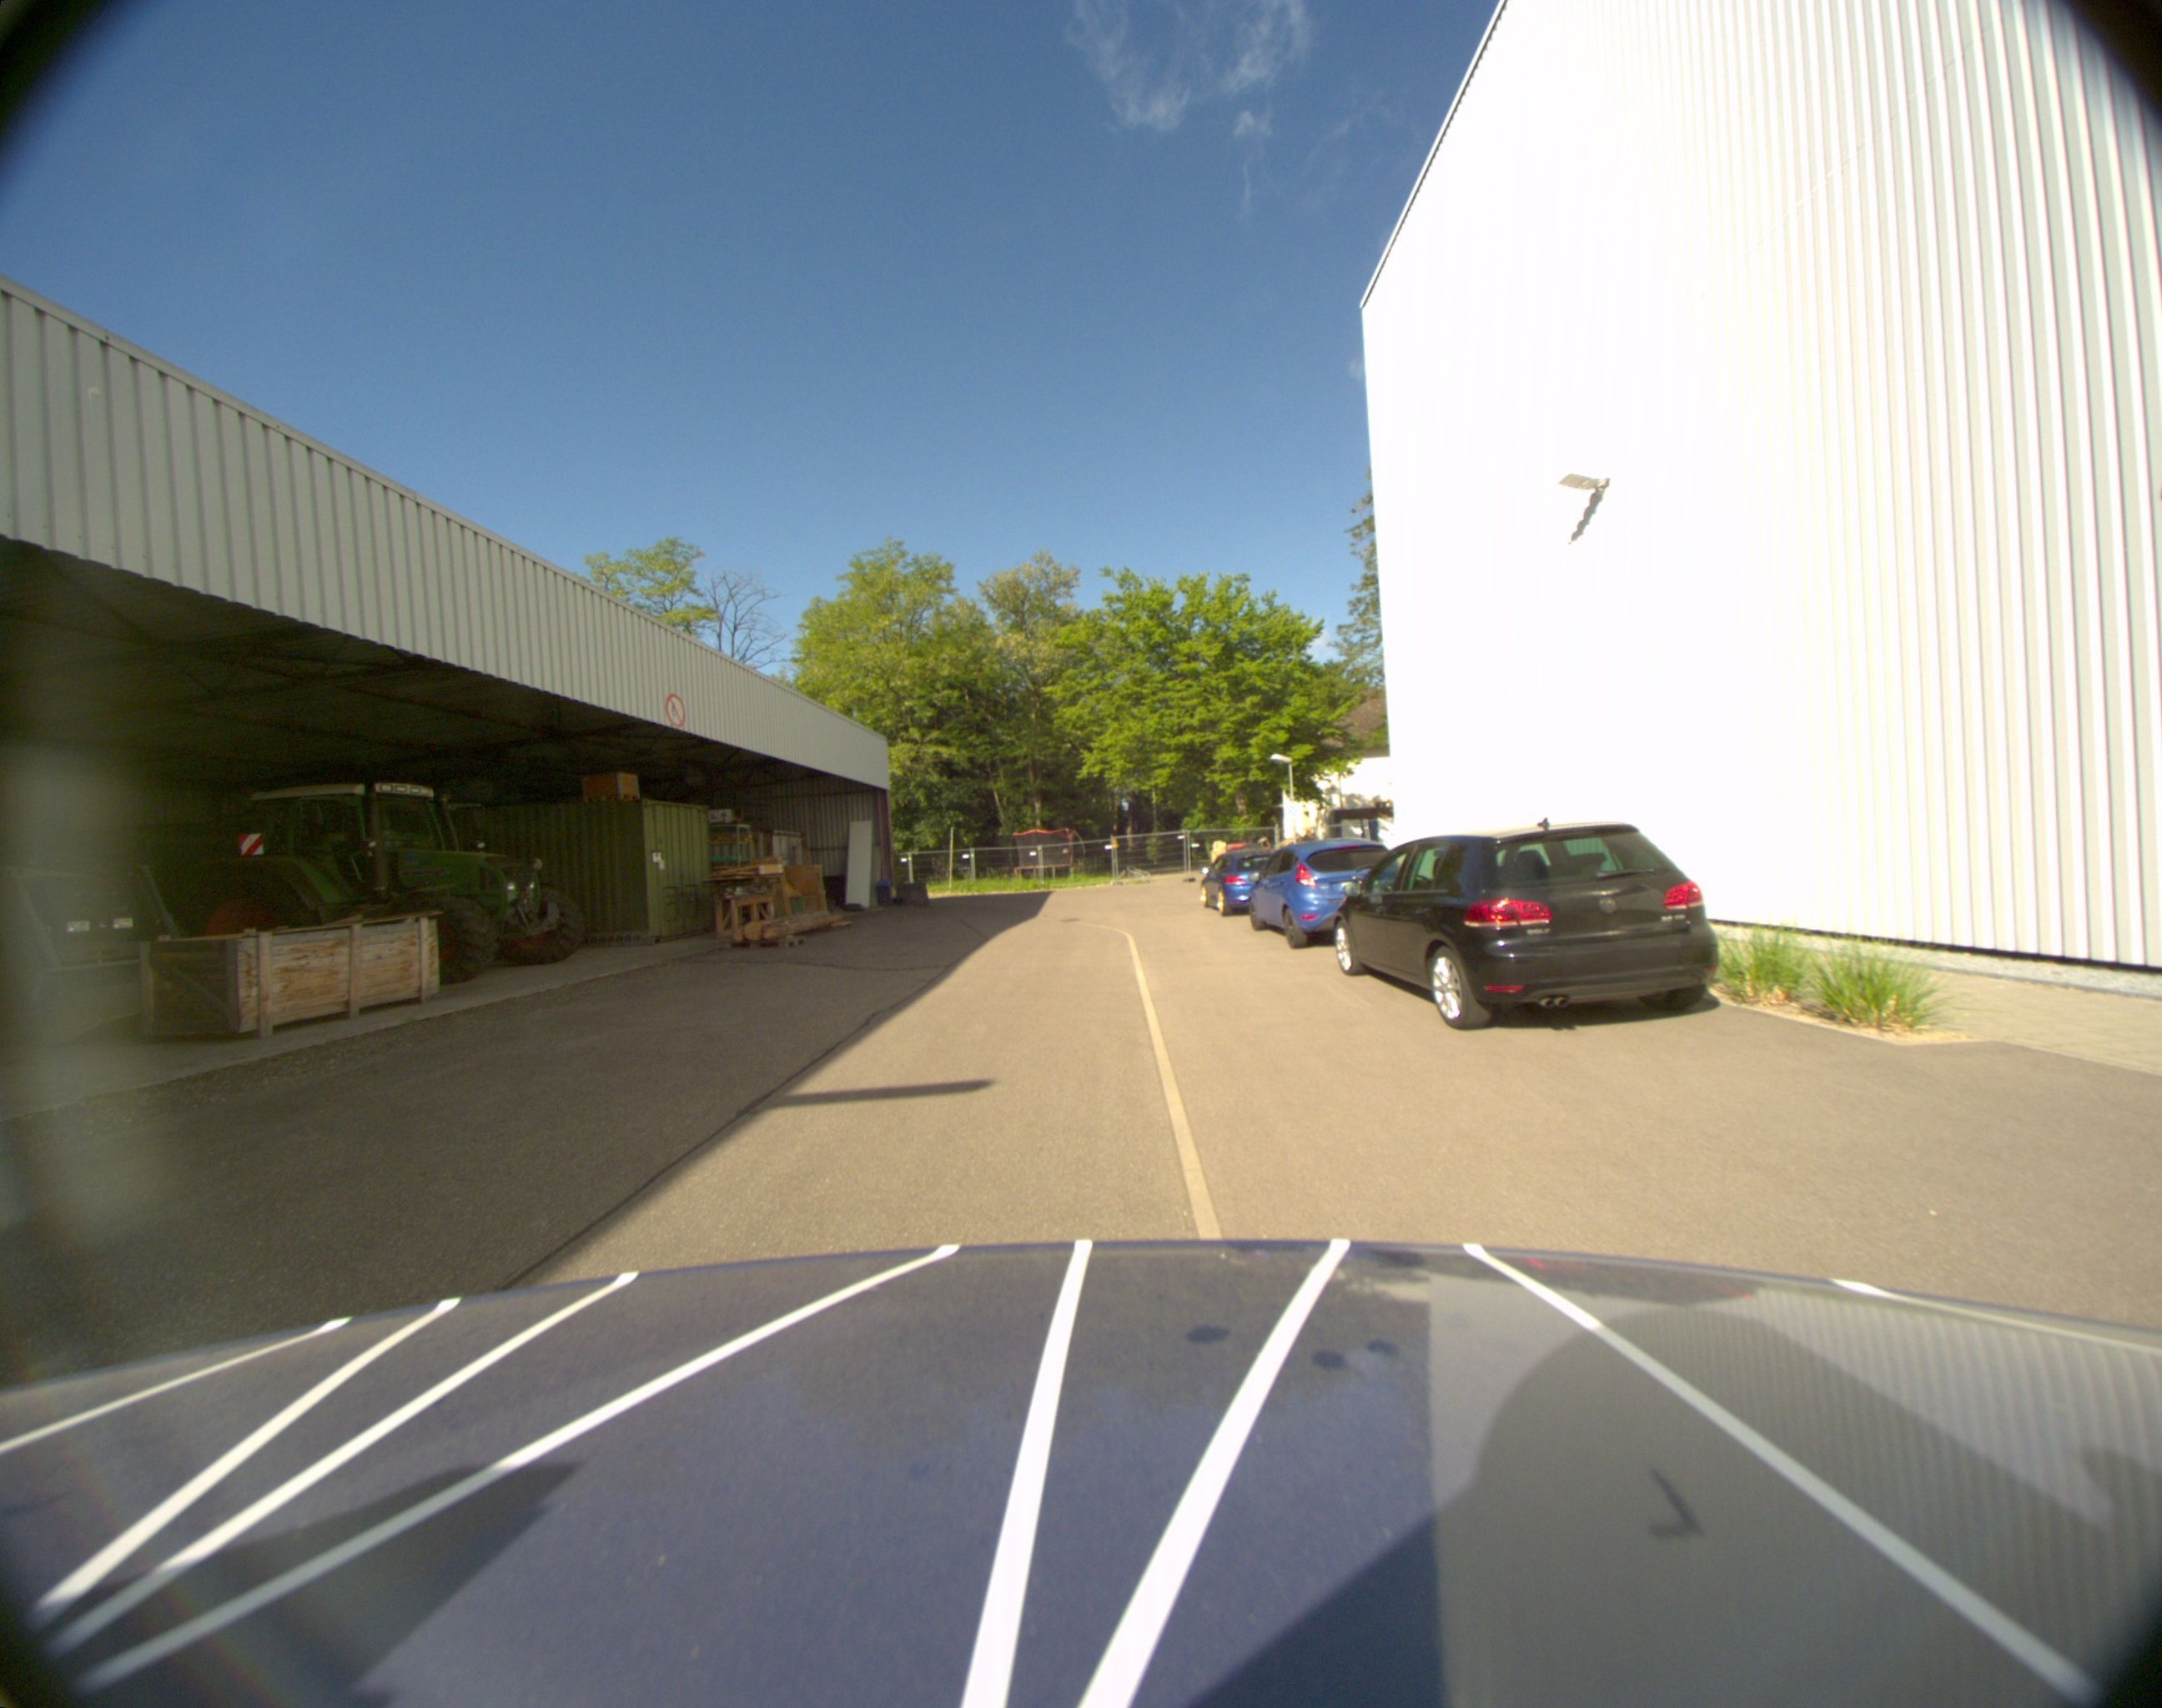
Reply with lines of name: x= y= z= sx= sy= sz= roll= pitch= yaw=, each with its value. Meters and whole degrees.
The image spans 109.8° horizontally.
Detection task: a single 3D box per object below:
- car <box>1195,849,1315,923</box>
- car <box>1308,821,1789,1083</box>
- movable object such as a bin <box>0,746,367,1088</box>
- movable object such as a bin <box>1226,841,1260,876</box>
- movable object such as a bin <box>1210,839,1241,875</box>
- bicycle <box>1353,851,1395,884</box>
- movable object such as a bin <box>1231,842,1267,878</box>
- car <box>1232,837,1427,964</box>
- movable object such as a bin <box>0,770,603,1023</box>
car: x=3.796 y=0.629 z=17.253 sx=1.778 sy=1.353 sz=4.053 roll=-4 pitch=0 yaw=1
car: x=3.559 y=0.604 z=6.905 sx=1.758 sy=1.491 sz=4.294 roll=-5 pitch=0 yaw=2
movable object such as a bin: x=-12.112 y=0.703 z=8.044 sx=6.200 sy=2.893 sz=3.017 roll=-3 pitch=1 yaw=3
movable object such as a bin: x=7.232 y=0.194 z=34.047 sx=1.093 sy=1.431 sz=1.230 roll=-5 pitch=1 yaw=-3
movable object such as a bin: x=6.816 y=0.150 z=35.959 sx=1.093 sy=1.588 sz=1.230 roll=-4 pitch=3 yaw=-4
bicycle: x=9.442 y=0.412 z=24.550 sx=0.482 sy=0.982 sz=1.835 roll=-5 pitch=0 yaw=-4
movable object such as a bin: x=7.231 y=0.236 z=32.714 sx=1.093 sy=1.424 sz=1.230 roll=-5 pitch=1 yaw=-3
car: x=3.629 y=0.592 z=11.883 sx=1.634 sy=1.491 sz=4.094 roll=-6 pitch=0 yaw=1
movable object such as a bin: x=-12.810 y=0.664 z=11.374 sx=9.214 sy=2.893 sz=3.212 roll=-3 pitch=0 yaw=3
